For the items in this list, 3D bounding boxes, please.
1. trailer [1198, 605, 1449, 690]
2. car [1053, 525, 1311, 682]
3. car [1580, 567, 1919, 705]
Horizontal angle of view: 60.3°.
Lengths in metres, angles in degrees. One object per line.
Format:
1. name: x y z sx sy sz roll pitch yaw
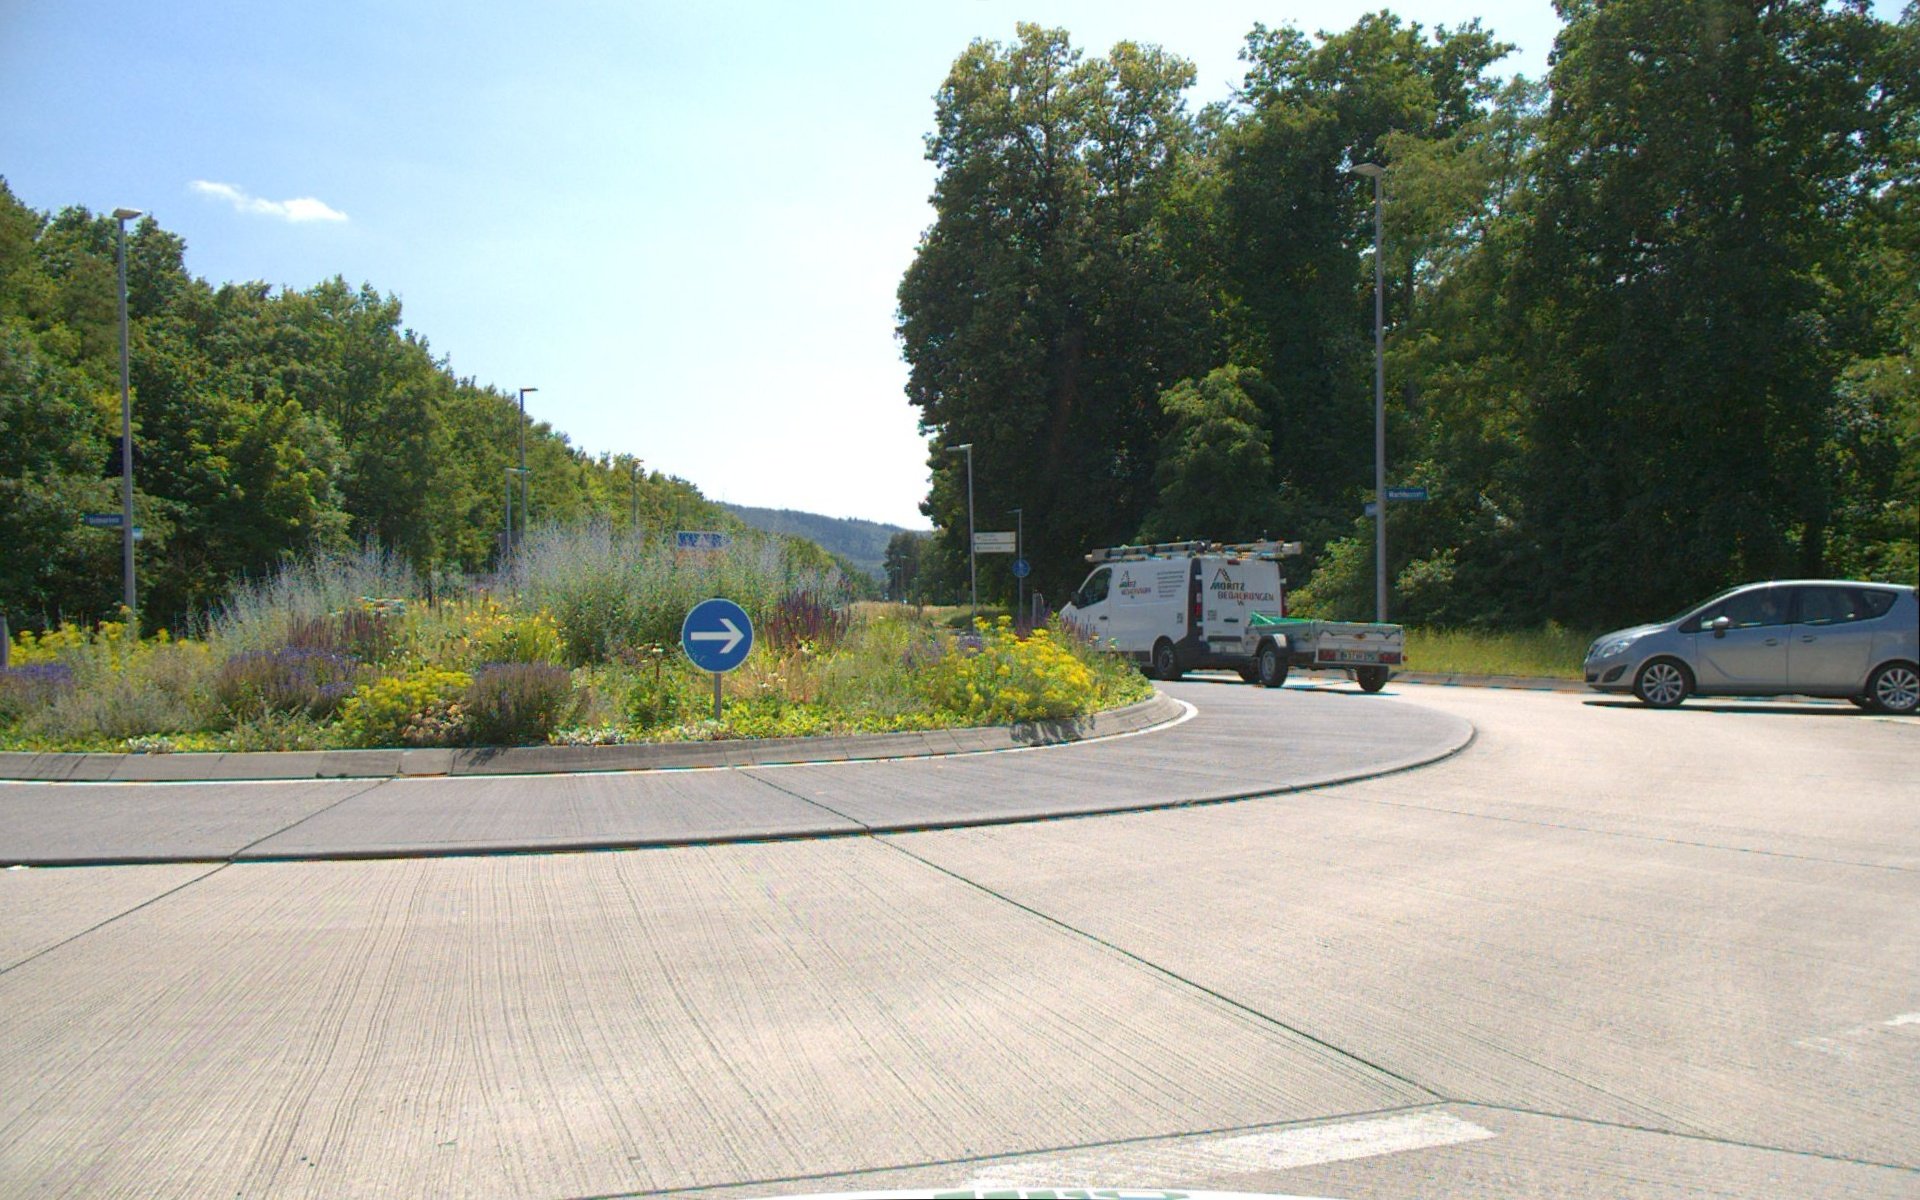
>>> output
1. trailer: 5.112 0.641 23.665 2.090 1.116 3.335 0 0 -20
2. car: 3.538 0.068 27.489 2.136 2.357 4.948 0 -1 -22
3. car: 10.075 0.435 20.932 4.026 1.635 1.791 0 -1 15
